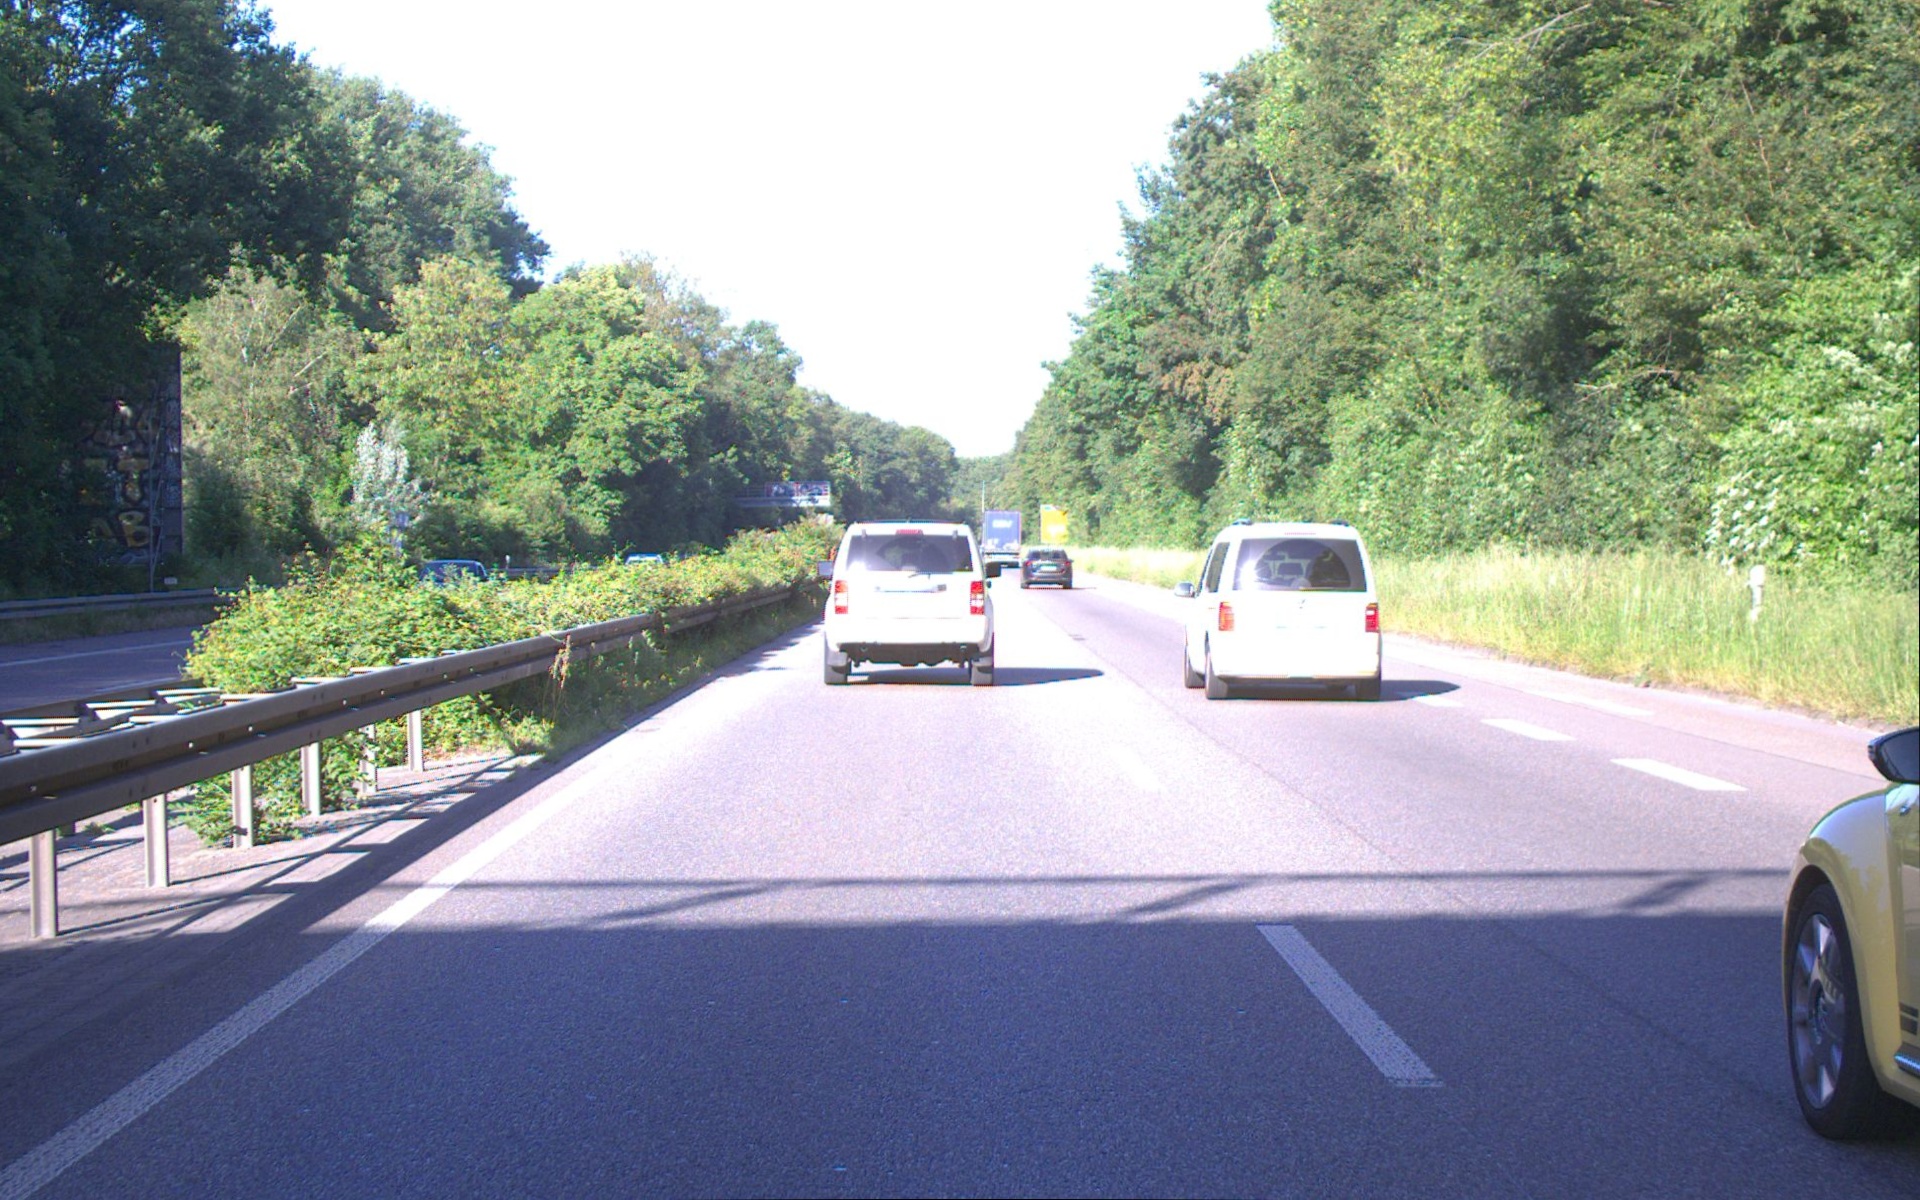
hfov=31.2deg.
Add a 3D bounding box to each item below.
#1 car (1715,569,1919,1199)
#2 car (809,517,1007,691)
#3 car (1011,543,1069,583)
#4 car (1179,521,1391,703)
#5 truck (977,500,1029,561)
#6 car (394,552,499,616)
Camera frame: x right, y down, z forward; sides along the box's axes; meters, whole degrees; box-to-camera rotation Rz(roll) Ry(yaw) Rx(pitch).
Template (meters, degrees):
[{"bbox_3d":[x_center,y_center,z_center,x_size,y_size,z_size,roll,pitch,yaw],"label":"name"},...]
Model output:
[{"bbox_3d":[3.135,0.688,7.532,1.879,1.456,4.356,0,1,-2],"label":"car"},{"bbox_3d":[-0.617,0.007,38.205,2.085,1.822,4.000,0,1,-2],"label":"car"},{"bbox_3d":[2.869,-1.361,123.899,1.993,1.393,4.000,-1,1,0],"label":"car"},{"bbox_3d":[3.325,0.076,35.885,1.863,1.764,4.470,1,1,1],"label":"car"},{"bbox_3d":[3.034,-4.919,244.121,3.496,4.158,8.862,-1,1,0],"label":"truck"},{"bbox_3d":[-12.224,-0.395,82.049,1.960,1.445,4.327,0,1,-1],"label":"car"}]
